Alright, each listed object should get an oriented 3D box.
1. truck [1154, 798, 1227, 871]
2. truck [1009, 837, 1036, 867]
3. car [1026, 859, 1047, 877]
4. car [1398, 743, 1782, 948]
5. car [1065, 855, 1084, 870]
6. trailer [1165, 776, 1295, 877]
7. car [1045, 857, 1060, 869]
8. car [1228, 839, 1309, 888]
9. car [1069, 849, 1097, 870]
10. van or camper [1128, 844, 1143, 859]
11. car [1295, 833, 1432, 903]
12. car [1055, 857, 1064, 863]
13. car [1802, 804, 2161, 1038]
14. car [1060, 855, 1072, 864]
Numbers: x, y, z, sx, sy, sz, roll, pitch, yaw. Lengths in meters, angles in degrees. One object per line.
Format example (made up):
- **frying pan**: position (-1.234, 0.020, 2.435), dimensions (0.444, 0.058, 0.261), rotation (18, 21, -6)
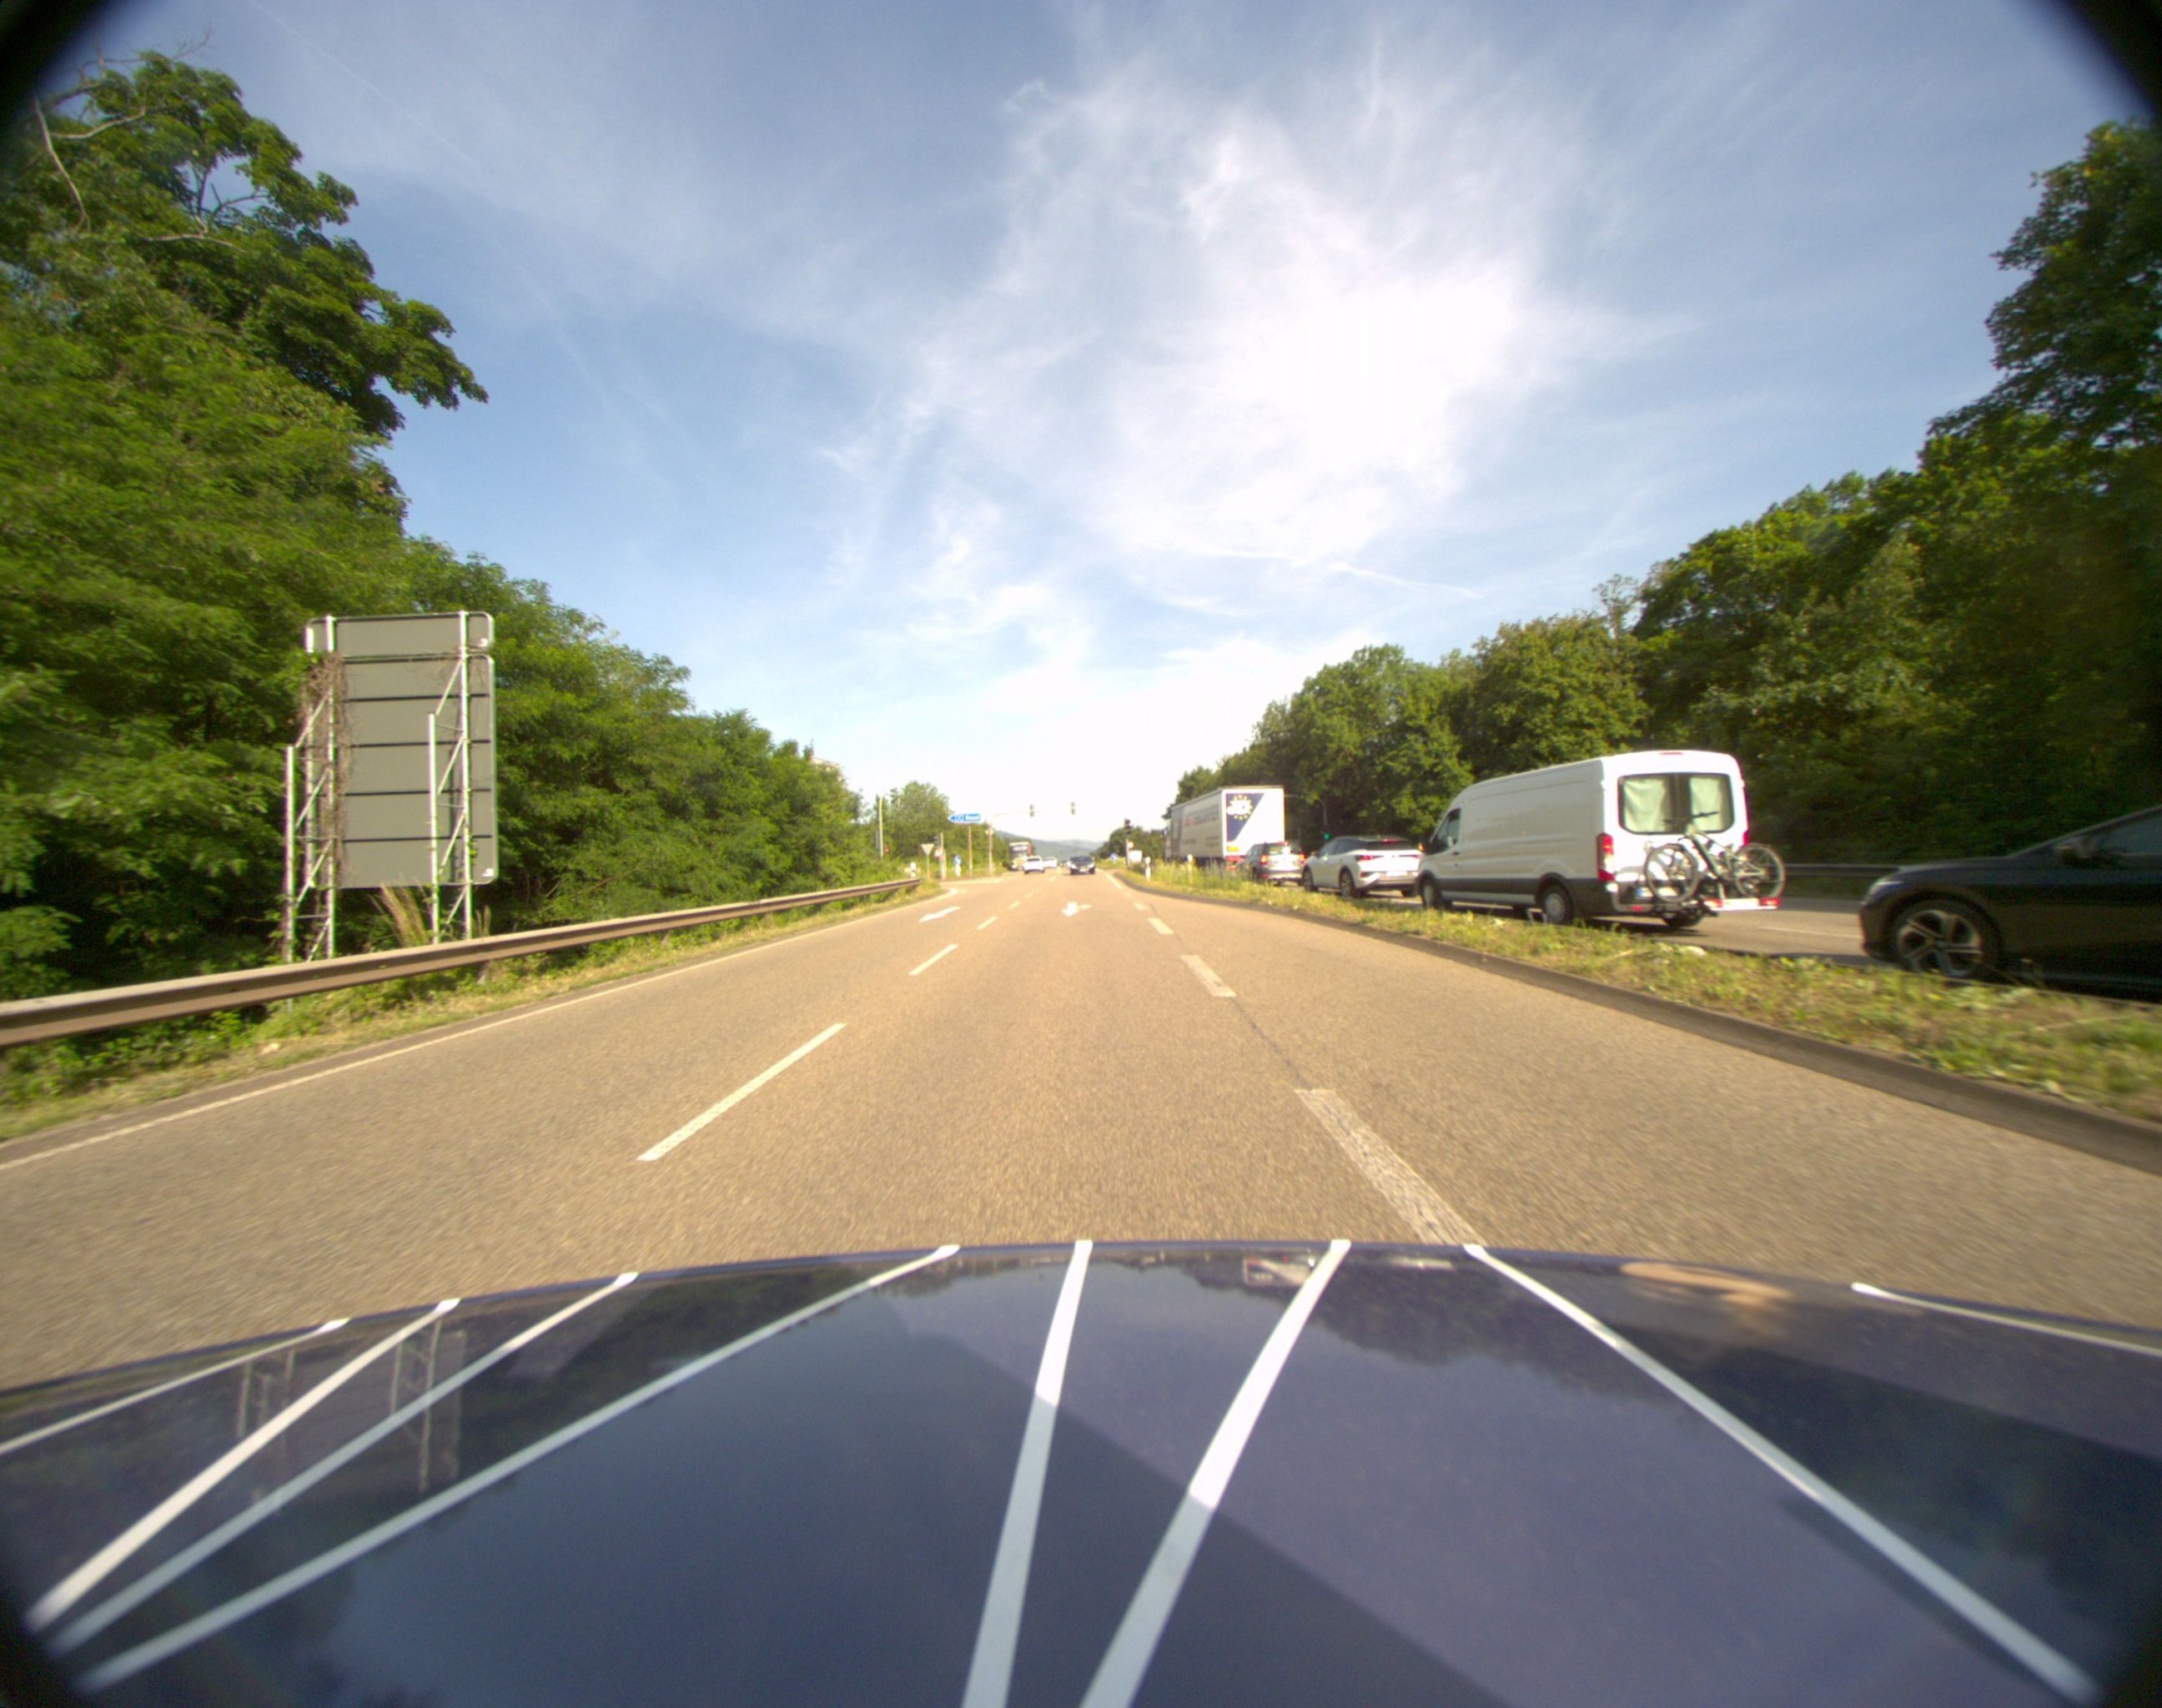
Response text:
- **truck**: position (6.601, -1.109, 46.893), dimensions (2.899, 3.974, 6.720), rotation (-4, 0, -3)
- **truck**: position (-8.711, -0.267, 114.499), dimensions (3.197, 3.995, 14.560), rotation (-4, 0, -2)
- **car**: position (-4.165, 1.288, 70.889), dimensions (1.875, 1.625, 4.832), rotation (-1, 0, -3)
- **car**: position (7.671, -0.103, 12.601), dimensions (2.080, 2.519, 6.162), rotation (-1, 0, -2)
- **car**: position (-0.798, 0.954, 90.599), dimensions (1.999, 1.632, 3.999), rotation (-4, 0, -2)
- **trailer**: position (6.995, -1.128, 38.595), dimensions (3.000, 3.972, 14.010), rotation (-4, 0, -3)
- **car**: position (-4.447, 1.333, 116.944), dimensions (1.999, 1.632, 3.998), rotation (-4, 0, -4)
- **car**: position (6.822, 0.340, 28.146), dimensions (1.705, 1.622, 4.369), rotation (-1, 0, -3)
- **car**: position (0.105, 0.408, 57.727), dimensions (1.862, 1.452, 4.568), rotation (-4, 0, -2)
- **van or camper**: position (10.582, -0.480, 148.475), dimensions (2.419, 2.695, 6.436), rotation (0, 0, -1)
- **car**: position (7.394, 0.334, 20.459), dimensions (1.705, 1.622, 4.746), rotation (-1, 0, -3)
- **car**: position (-5.893, 1.599, 207.704), dimensions (1.999, 1.632, 3.998), rotation (-4, 0, -4)
- **car**: position (7.588, 0.394, 4.423), dimensions (1.765, 1.448, 5.185), rotation (-1, 0, -2)
- **car**: position (-3.092, 1.092, 156.648), dimensions (1.999, 1.632, 3.998), rotation (-4, 0, -4)
